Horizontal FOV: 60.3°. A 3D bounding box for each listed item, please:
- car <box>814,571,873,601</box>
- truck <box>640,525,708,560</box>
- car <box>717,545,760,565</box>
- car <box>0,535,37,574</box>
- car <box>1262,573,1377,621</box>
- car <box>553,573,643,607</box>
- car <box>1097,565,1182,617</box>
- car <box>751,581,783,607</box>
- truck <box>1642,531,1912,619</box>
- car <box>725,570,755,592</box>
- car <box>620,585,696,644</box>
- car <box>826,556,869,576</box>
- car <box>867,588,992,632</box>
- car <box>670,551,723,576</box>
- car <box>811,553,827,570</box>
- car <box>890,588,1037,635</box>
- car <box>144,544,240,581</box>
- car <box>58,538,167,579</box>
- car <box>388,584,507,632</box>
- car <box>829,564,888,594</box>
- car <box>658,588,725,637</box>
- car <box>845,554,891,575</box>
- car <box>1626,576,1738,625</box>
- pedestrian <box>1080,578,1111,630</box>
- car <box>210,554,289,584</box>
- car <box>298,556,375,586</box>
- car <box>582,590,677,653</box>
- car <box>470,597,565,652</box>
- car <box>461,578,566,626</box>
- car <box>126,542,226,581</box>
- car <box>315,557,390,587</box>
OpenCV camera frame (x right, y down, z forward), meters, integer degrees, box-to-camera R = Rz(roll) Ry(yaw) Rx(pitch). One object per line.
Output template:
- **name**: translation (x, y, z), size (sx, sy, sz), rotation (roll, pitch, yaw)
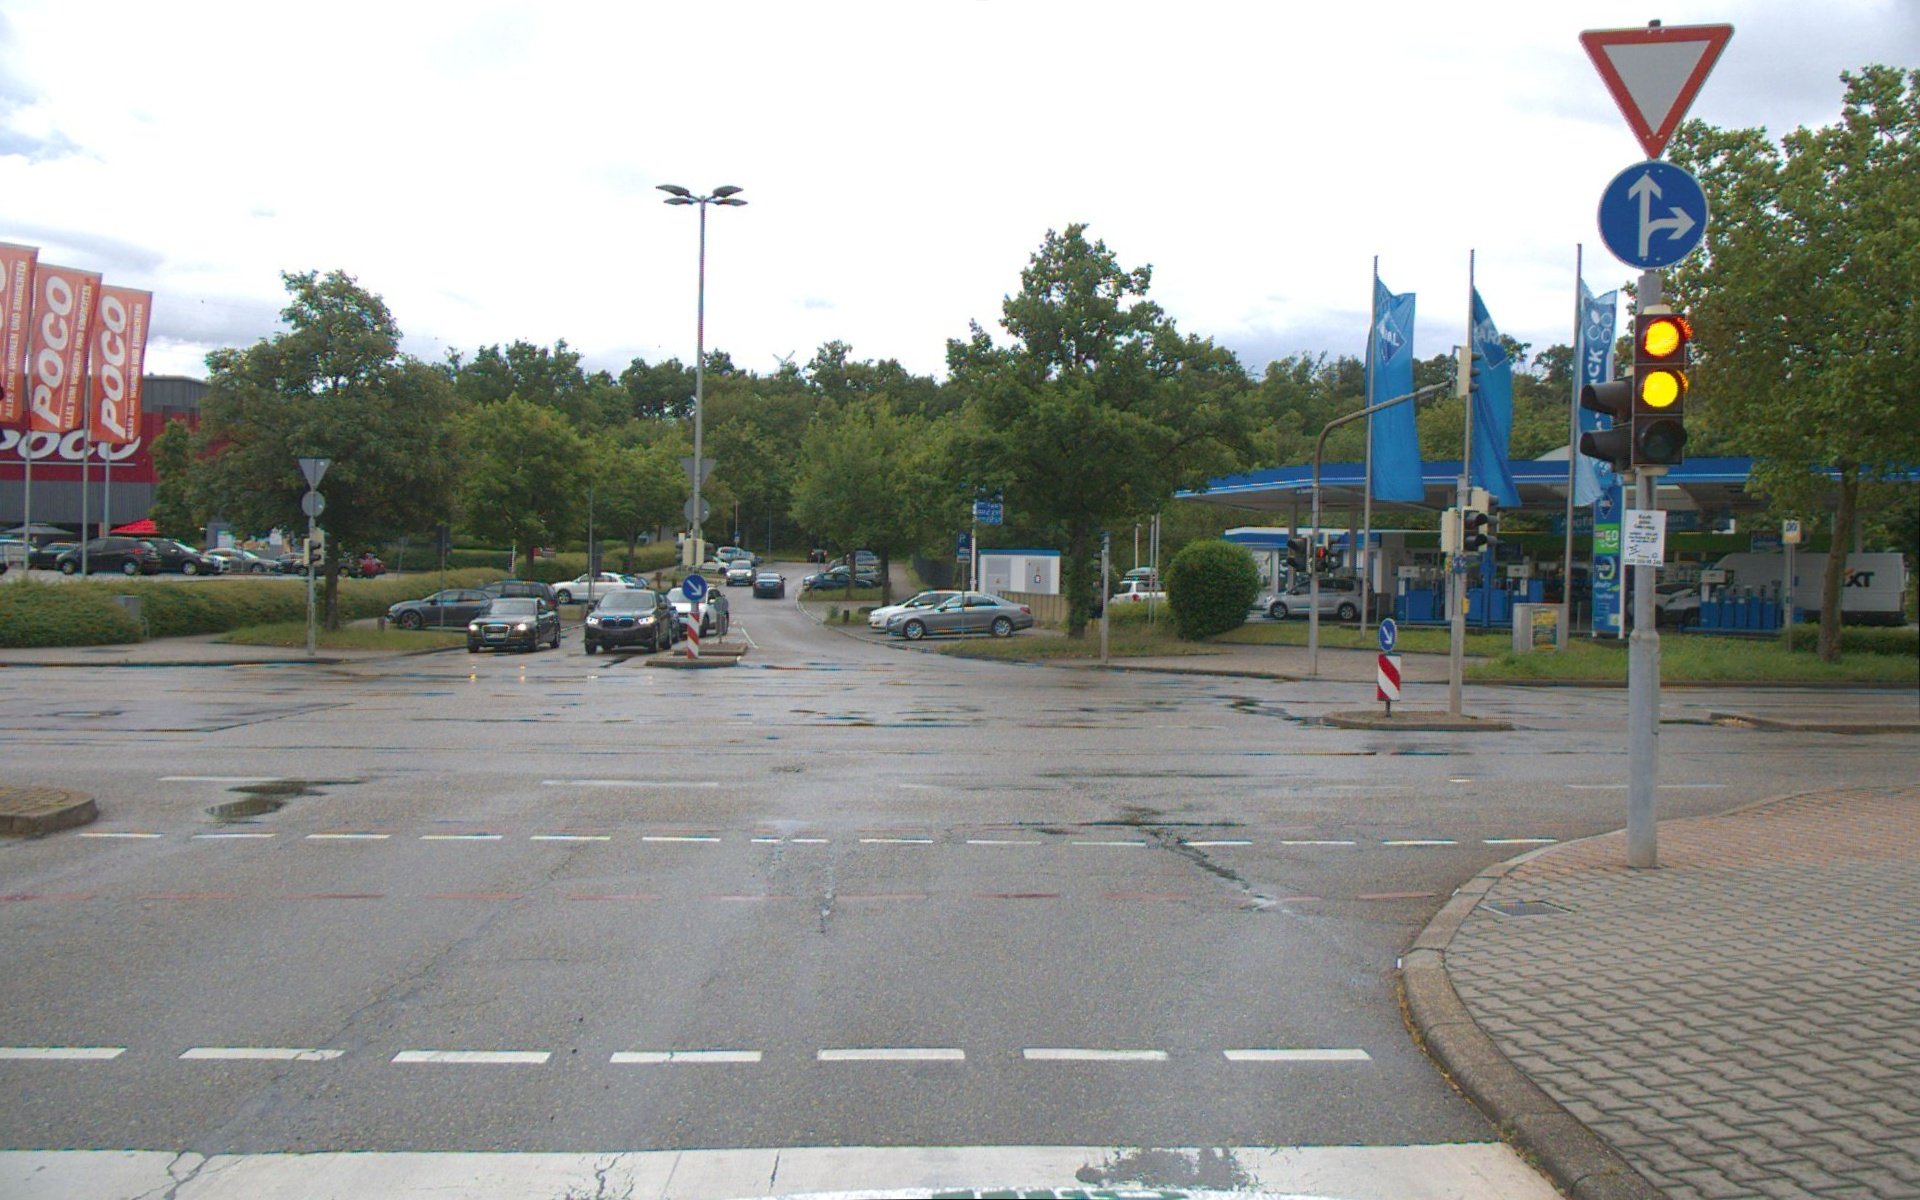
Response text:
- **car**: translation (-6.890, -0.800, 97.694), size (3.393, 1.683, 1.614), rotation (1, 0, -6)
- **truck**: translation (-32.772, -6.570, 189.563), size (7.211, 3.928, 2.779), rotation (0, 0, 4)
- **car**: translation (-20.939, -4.231, 156.307), size (3.907, 1.825, 1.855), rotation (0, 0, -3)
- **car**: translation (-37.583, -1.736, 63.099), size (3.816, 1.405, 1.673), rotation (0, 0, 1)
- **car**: translation (14.174, -0.110, 65.232), size (4.037, 1.839, 1.942), rotation (0, -1, 29)
- **car**: translation (-18.133, -0.500, 82.933), size (4.187, 1.637, 1.683), rotation (0, 0, -4)
- **car**: translation (6.533, -0.314, 60.480), size (1.780, 1.828, 3.682), rotation (1, 0, -17)
- **car**: translation (-11.286, -0.353, 96.781), size (1.772, 1.508, 3.747), rotation (0, 0, -5)
- **truck**: translation (26.381, -0.841, 53.743), size (7.691, 2.722, 2.154), rotation (1, 1, 25)
- **car**: translation (-15.118, -1.299, 113.919), size (1.663, 1.481, 3.672), rotation (0, 0, -1)
- **car**: translation (-8.960, 0.432, 49.342), size (1.760, 1.661, 4.547), rotation (0, 0, -4)
- **car**: translation (-10.334, -3.115, 151.618), size (3.910, 1.769, 1.808), rotation (0, 0, -7)
- **car**: translation (-1.151, 0.376, 61.704), size (4.486, 1.617, 1.926), rotation (0, 0, -8)
- **car**: translation (-19.977, -2.783, 125.514), size (3.911, 1.825, 1.853), rotation (0, 0, -8)
- **car**: translation (-15.634, -4.227, 183.038), size (1.769, 1.769, 3.995), rotation (0, 0, -5)
- **car**: translation (0.089, 0.394, 56.470), size (4.794, 1.576, 1.997), rotation (0, 0, -8)
- **car**: translation (-36.185, -1.743, 77.998), size (3.736, 1.674, 1.673), rotation (0, 0, 1)
- **car**: translation (-35.980, -1.772, 70.287), size (3.736, 1.674, 1.673), rotation (0, 0, 1)
- **car**: translation (-17.329, 0.258, 56.069), size (3.580, 1.580, 1.682), rotation (0, 0, -8)
- **car**: translation (-6.426, -1.304, 104.211), size (3.627, 1.780, 1.695), rotation (1, 0, -6)
- **car**: translation (-8.976, 0.402, 55.545), size (1.858, 1.580, 3.997), rotation (0, 0, -4)
- **car**: translation (-8.010, -3.114, 144.225), size (3.910, 1.769, 1.808), rotation (0, 0, -7)
- **car**: translation (25.918, 0.022, 59.390), size (3.487, 1.609, 1.685), rotation (2, 1, 31)
- **pedestrian**: translation (4.416, 0.145, 54.104), size (0.794, 1.690, 0.884), rotation (0, -1, -13)
- **car**: translation (-40.678, -1.752, 94.756), size (3.736, 1.674, 1.673), rotation (0, 0, 1)
- **car**: translation (-35.647, -1.663, 94.572), size (3.736, 1.674, 1.673), rotation (0, 0, 1)
- **car**: translation (-8.698, 0.540, 43.856), size (1.858, 1.580, 4.588), rotation (0, 0, -4)
- **car**: translation (-12.004, 0.651, 45.071), size (1.747, 1.429, 3.997), rotation (0, 0, -4)
- **car**: translation (-16.636, 0.089, 61.782), size (3.580, 1.755, 1.682), rotation (0, 0, -8)
- **car**: translation (-35.653, -1.745, 75.290), size (3.736, 1.674, 1.673), rotation (0, 0, 1)
- **car**: translation (-35.740, -1.653, 97.357), size (3.736, 1.674, 1.673), rotation (0, 0, 1)
